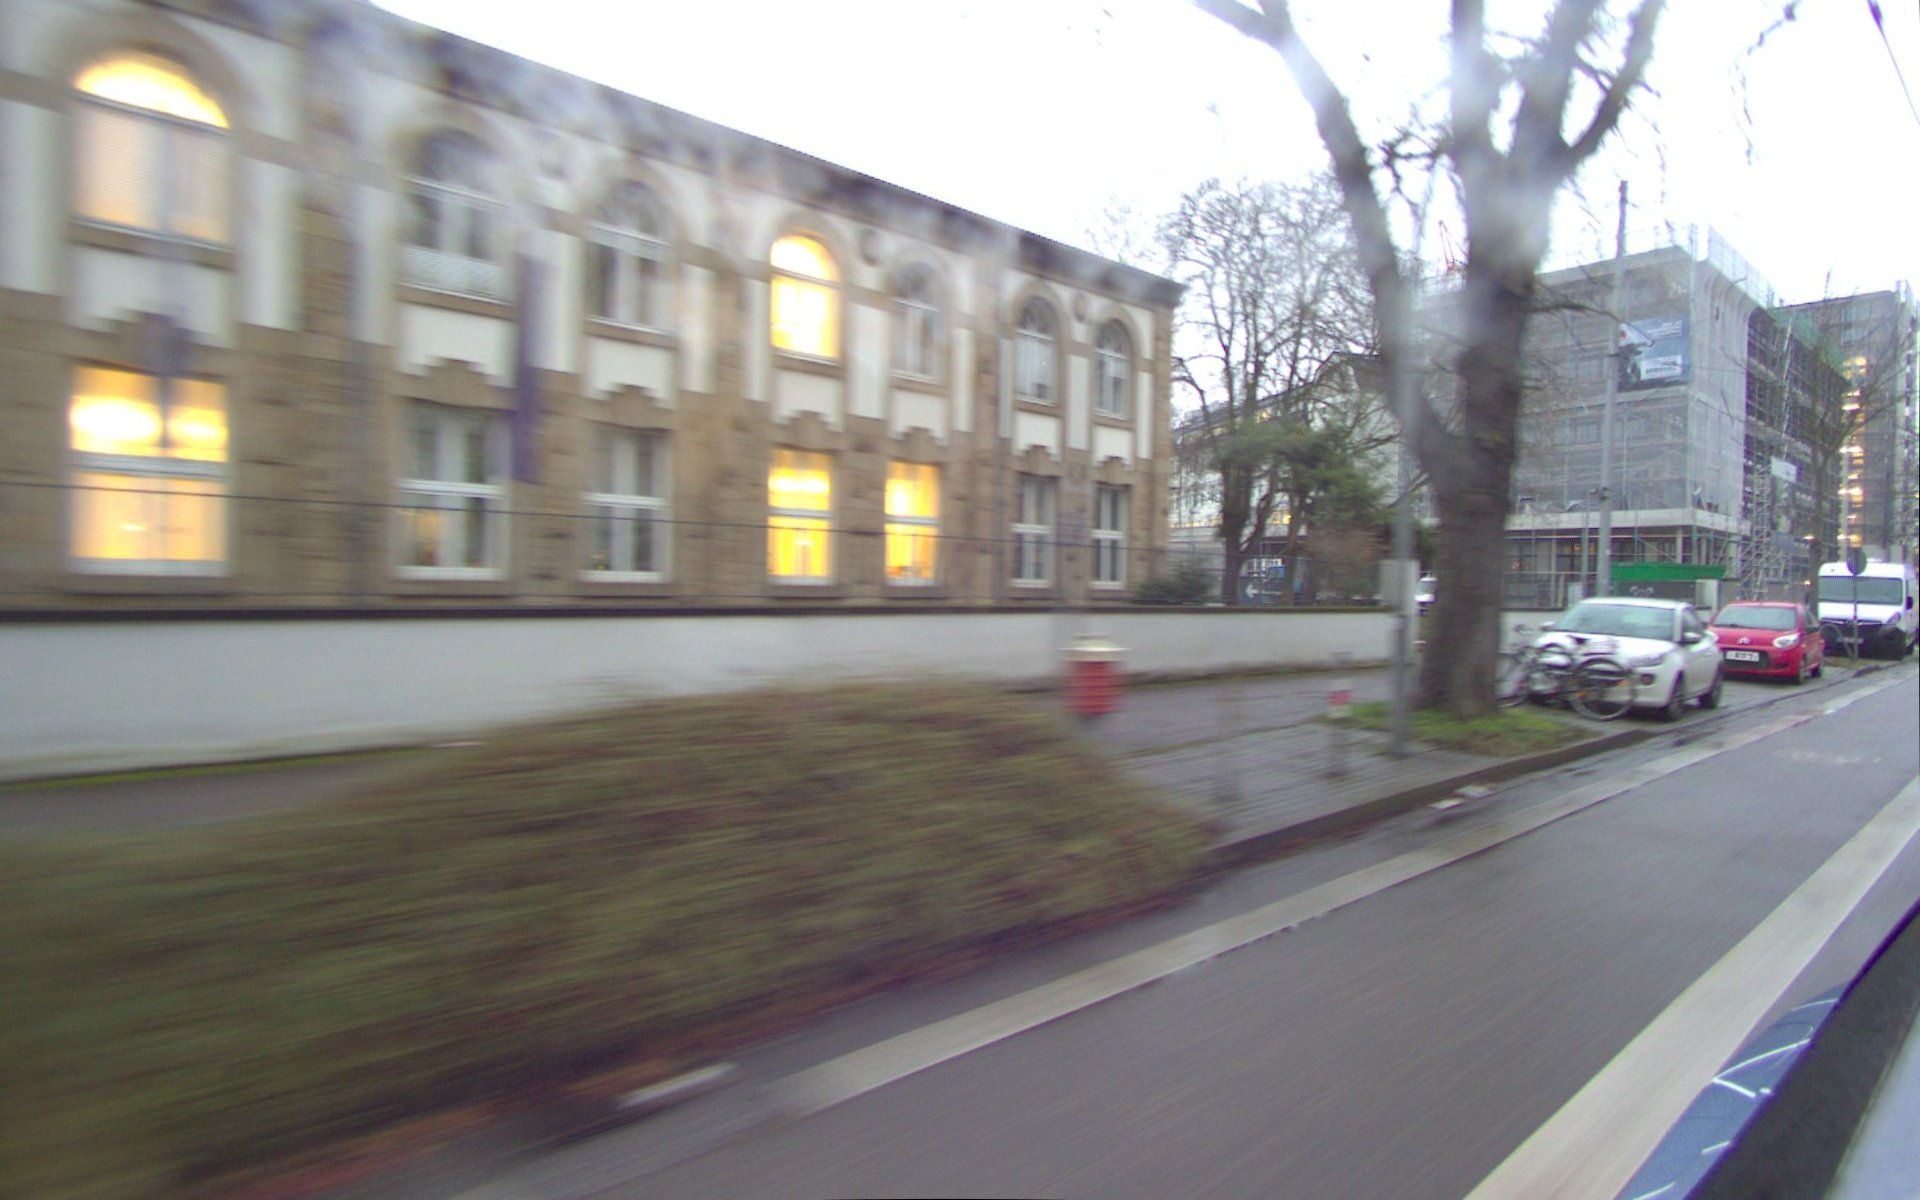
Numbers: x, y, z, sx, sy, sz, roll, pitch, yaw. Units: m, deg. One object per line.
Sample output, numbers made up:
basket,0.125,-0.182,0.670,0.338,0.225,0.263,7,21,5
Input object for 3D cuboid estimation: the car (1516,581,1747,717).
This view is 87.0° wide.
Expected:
car,9.012,0.561,13.491,3.574,1.539,1.694,1,1,-42

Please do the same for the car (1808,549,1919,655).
car,24.180,0.038,26.685,5.347,2.518,2.126,1,1,-43

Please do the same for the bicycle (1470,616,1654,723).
bicycle,7.033,0.772,11.894,0.651,1.084,1.716,1,1,-40

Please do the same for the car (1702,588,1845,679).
car,15.511,0.586,19.240,3.512,1.542,1.645,1,0,-43

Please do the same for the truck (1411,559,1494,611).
truck,26.309,-0.860,53.910,2.125,2.619,6.974,2,3,42

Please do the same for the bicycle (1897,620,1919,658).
bicycle,30.809,1.254,31.824,1.883,1.147,0.721,2,1,37
